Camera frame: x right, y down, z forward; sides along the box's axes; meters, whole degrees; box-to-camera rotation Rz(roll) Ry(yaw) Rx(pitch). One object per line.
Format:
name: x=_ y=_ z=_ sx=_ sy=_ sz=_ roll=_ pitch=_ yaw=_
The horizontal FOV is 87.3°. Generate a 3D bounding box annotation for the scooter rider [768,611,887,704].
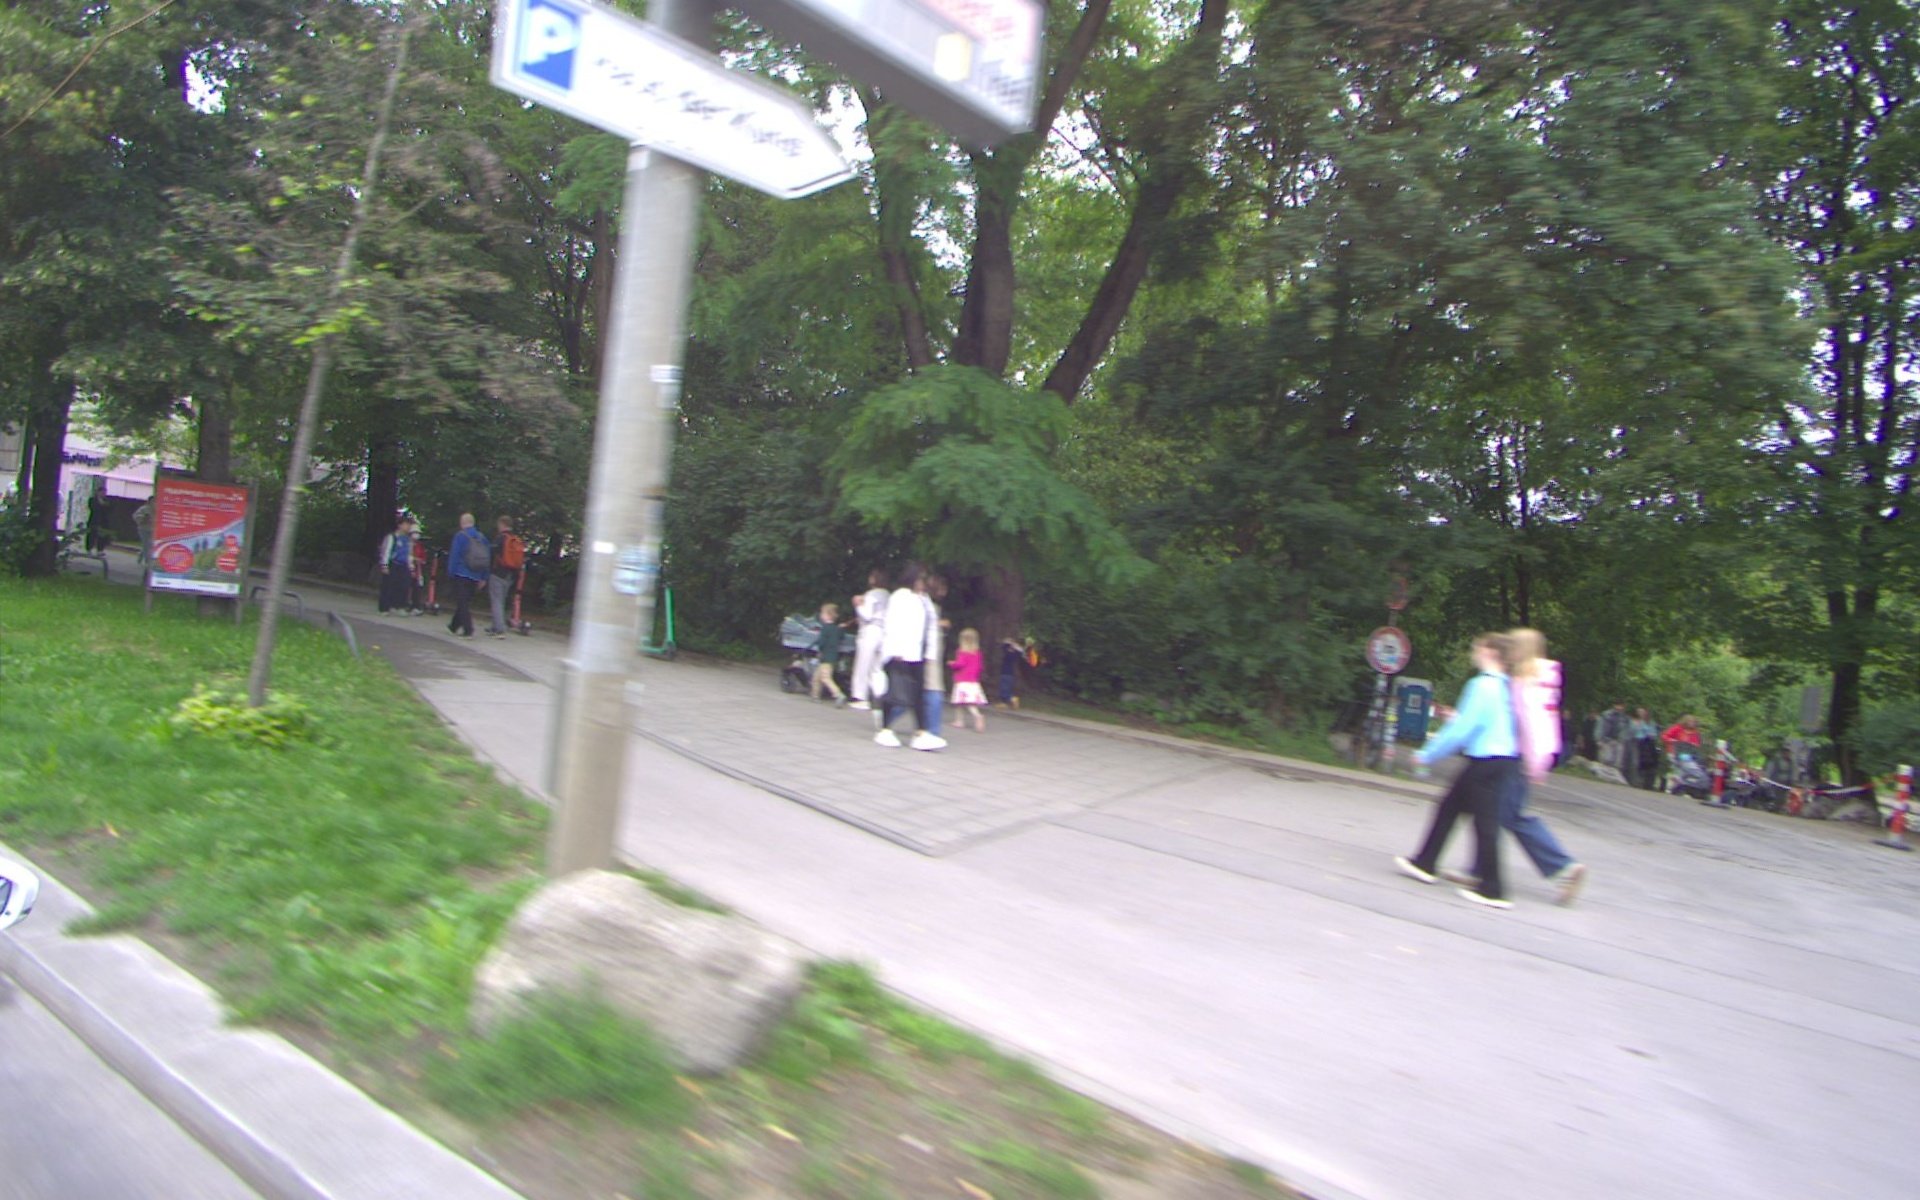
scooter rider: x=-1.675 y=0.733 z=12.782 sx=1.096 sy=0.996 sz=0.857 roll=7 pitch=-1 yaw=32

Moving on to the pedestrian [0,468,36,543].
pedestrian: x=-27.126 y=-2.709 z=28.809 sx=0.764 sy=2.041 sz=0.763 roll=7 pitch=3 yaw=32

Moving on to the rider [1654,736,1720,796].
rider: x=13.617 y=3.099 z=18.861 sx=0.600 sy=0.952 sz=0.892 roll=7 pitch=-1 yaw=13

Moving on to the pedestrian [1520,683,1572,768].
pedestrian: x=12.597 y=2.681 z=21.645 sx=0.600 sy=1.715 sz=0.693 roll=7 pitch=-1 yaw=11

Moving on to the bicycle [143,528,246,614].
bicycle: x=-10.952 y=-0.432 z=14.360 sx=2.045 sy=1.033 sz=0.385 roll=6 pitch=-1 yaw=32

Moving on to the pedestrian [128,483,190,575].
pedestrian: x=-15.702 y=-1.389 z=19.729 sx=0.742 sy=1.701 sz=0.608 roll=7 pitch=-1 yaw=35

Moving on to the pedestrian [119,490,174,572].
pedestrian: x=-18.996 y=-1.611 z=23.496 sx=0.770 sy=1.794 sz=0.631 roll=7 pitch=-1 yaw=35

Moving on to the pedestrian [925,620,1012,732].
pedestrian: x=0.096 y=0.845 z=11.209 sx=0.629 sy=1.150 sz=0.565 roll=8 pitch=-1 yaw=-43

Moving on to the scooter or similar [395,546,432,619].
scooter or similar: x=-9.674 y=-0.305 z=17.830 sx=0.301 sy=1.239 sz=0.923 roll=7 pitch=0 yaw=-19

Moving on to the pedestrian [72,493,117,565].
pedestrian: x=-21.528 y=-1.760 z=25.031 sx=0.545 sy=1.695 sz=0.580 roll=7 pitch=-1 yaw=35

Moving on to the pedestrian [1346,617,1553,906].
pedestrian: x=3.185 y=1.011 z=6.550 sx=0.752 sy=1.663 sz=0.839 roll=8 pitch=-1 yaw=-43

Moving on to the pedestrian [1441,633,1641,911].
pedestrian: x=3.936 y=1.122 z=6.822 sx=0.752 sy=1.663 sz=0.839 roll=8 pitch=-1 yaw=-43

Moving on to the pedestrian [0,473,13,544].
pedestrian: x=-28.495 y=-2.729 z=29.653 sx=0.712 sy=2.040 sz=0.594 roll=7 pitch=2 yaw=32

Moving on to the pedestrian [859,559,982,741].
pedestrian: x=-0.387 y=0.489 z=9.840 sx=0.752 sy=1.663 sz=0.682 roll=8 pitch=-1 yaw=-43

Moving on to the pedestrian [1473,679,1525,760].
pedestrian: x=12.202 y=2.697 z=22.792 sx=0.600 sy=1.715 sz=0.693 roll=7 pitch=-1 yaw=-3

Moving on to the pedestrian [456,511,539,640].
pedestrian: x=-7.038 y=-0.379 z=15.327 sx=0.836 sy=1.843 sz=0.589 roll=7 pitch=-1 yaw=32

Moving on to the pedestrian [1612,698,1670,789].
pedestrian: x=13.899 y=2.910 z=20.538 sx=0.600 sy=1.715 sz=0.693 roll=7 pitch=-1 yaw=13

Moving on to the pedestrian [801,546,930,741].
pedestrian: x=-0.861 y=0.400 z=9.178 sx=0.752 sy=1.663 sz=0.643 roll=8 pitch=-1 yaw=-43

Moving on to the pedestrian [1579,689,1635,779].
pedestrian: x=13.311 y=2.741 z=20.705 sx=0.600 sy=1.715 sz=0.693 roll=7 pitch=-1 yaw=13

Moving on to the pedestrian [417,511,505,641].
pedestrian: x=-7.243 y=-0.355 z=14.606 sx=0.752 sy=1.757 sz=0.839 roll=8 pitch=-1 yaw=-43

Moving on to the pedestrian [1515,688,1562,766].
pedestrian: x=13.456 y=2.939 z=23.417 sx=0.600 sy=1.715 sz=0.693 roll=7 pitch=-1 yaw=13

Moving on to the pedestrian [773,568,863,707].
pedestrian: x=-1.660 y=0.445 z=11.803 sx=0.552 sy=1.532 sz=0.682 roll=7 pitch=-1 yaw=32

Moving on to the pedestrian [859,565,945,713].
pedestrian: x=-0.697 y=0.474 z=12.121 sx=0.629 sy=1.686 sz=0.565 roll=8 pitch=-1 yaw=-43

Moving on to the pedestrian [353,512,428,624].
pedestrian: x=-9.637 y=-0.544 z=17.028 sx=0.752 sy=1.757 sz=0.839 roll=8 pitch=-1 yaw=-43

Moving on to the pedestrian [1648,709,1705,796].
pedestrian: x=15.158 y=3.207 z=21.288 sx=0.600 sy=1.715 sz=0.693 roll=7 pitch=-1 yaw=13

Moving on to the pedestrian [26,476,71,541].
pedestrian: x=-27.291 y=-2.735 z=30.120 sx=0.710 sy=1.833 sz=0.596 roll=6 pitch=2 yaw=7

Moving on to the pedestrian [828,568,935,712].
pedestrian: x=-0.931 y=0.481 z=11.993 sx=0.858 sy=1.584 sz=0.682 roll=7 pitch=-1 yaw=32

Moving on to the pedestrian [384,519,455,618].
pedestrian: x=-9.713 y=-0.552 z=18.079 sx=0.651 sy=1.657 sz=0.683 roll=7 pitch=-1 yaw=20

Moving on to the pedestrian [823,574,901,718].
pedestrian: x=-1.143 y=0.529 z=11.713 sx=0.483 sy=1.584 sz=0.565 roll=8 pitch=-1 yaw=-43

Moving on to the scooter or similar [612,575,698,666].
scooter or similar: x=-4.602 y=0.305 z=15.148 sx=1.199 sy=1.213 sz=0.418 roll=7 pitch=-1 yaw=32

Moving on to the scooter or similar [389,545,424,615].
scooter or similar: x=-10.387 y=-0.373 z=18.884 sx=0.301 sy=1.239 sz=0.923 roll=7 pitch=0 yaw=-19

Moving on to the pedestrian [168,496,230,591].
pedestrian: x=-15.176 y=-1.132 z=20.070 sx=0.784 sy=1.784 sz=0.608 roll=7 pitch=-1 yaw=35
